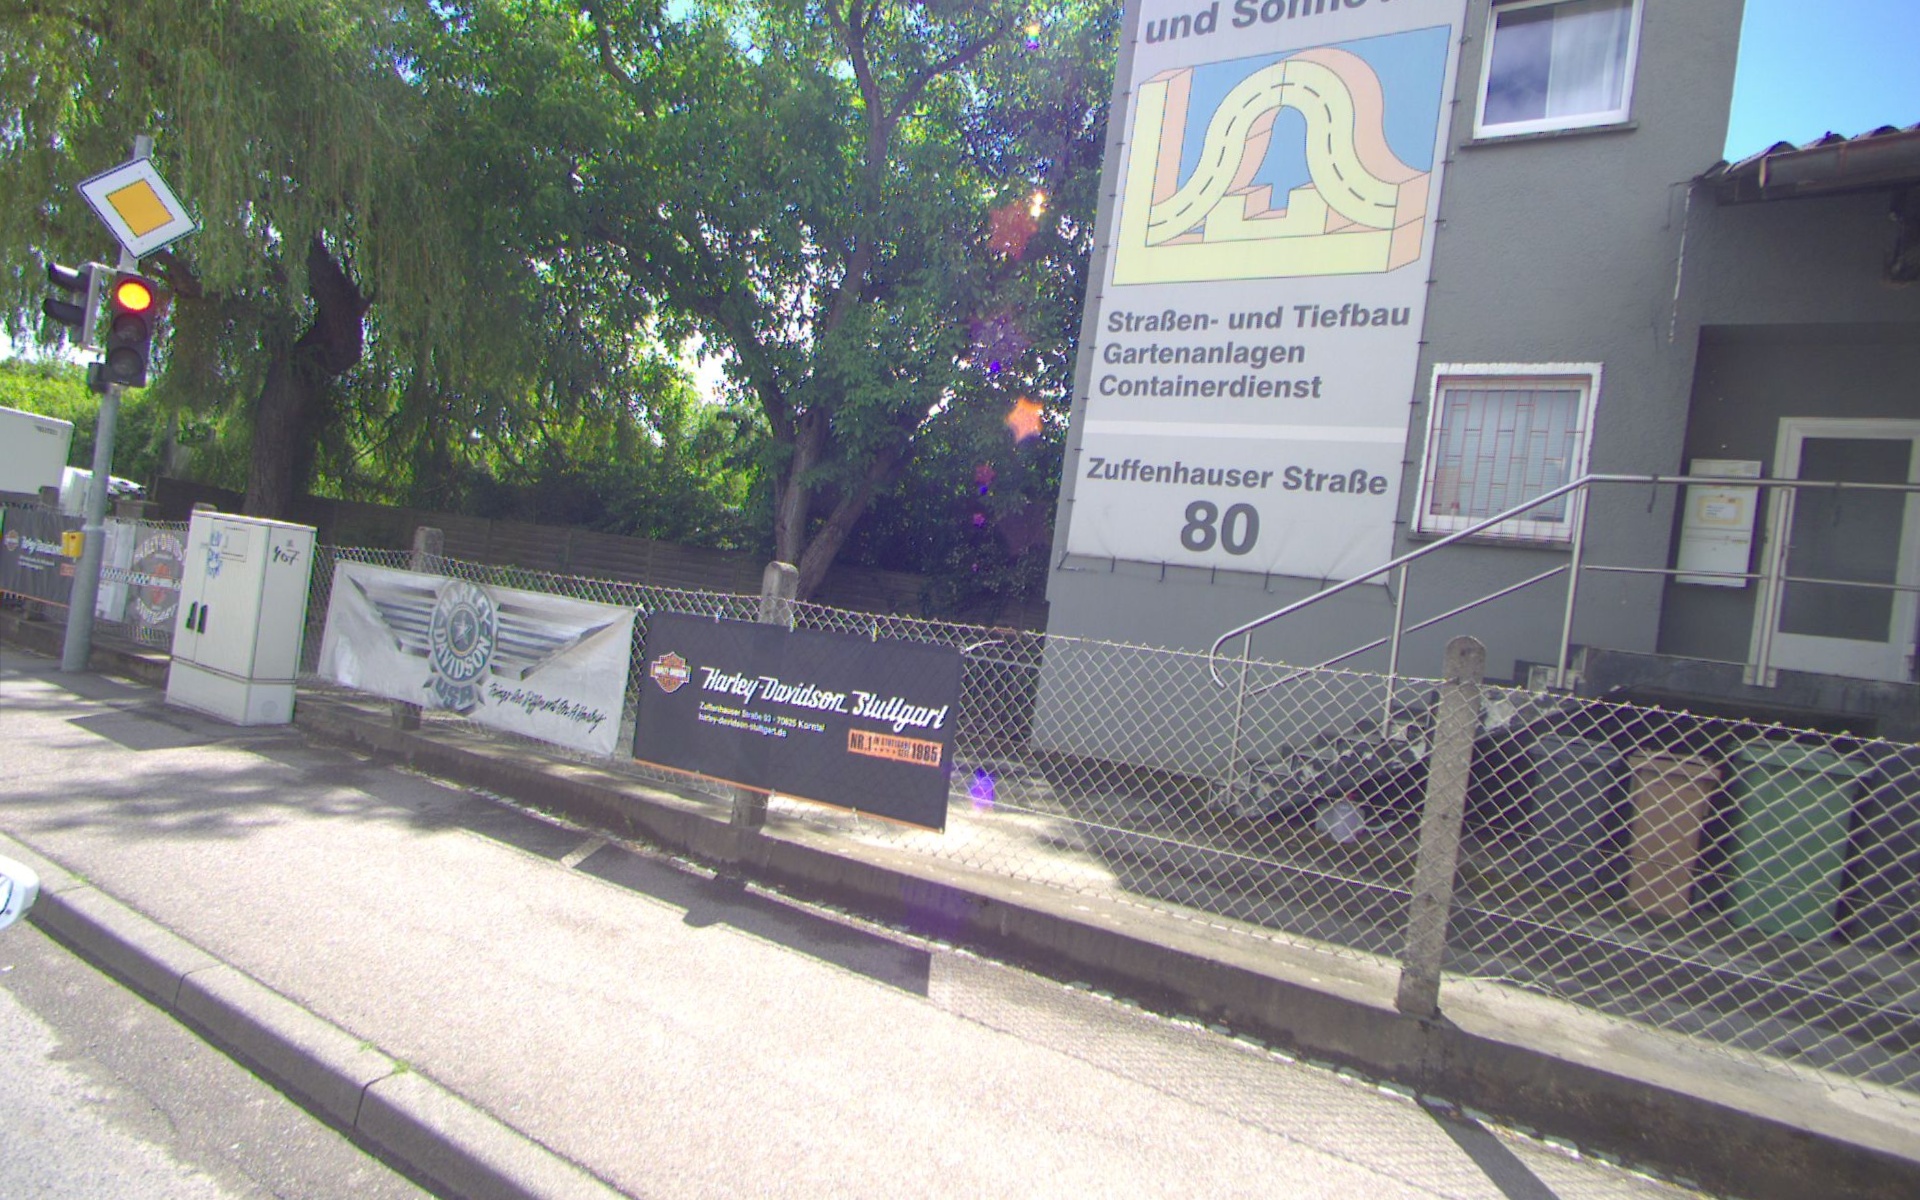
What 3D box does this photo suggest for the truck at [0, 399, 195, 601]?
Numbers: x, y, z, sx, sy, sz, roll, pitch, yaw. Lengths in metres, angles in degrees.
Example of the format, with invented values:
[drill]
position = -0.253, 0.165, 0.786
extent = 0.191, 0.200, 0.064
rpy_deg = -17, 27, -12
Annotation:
[truck]
position = -21.295, -2.554, 19.396
extent = 2.806, 3.578, 9.705
rpy_deg = 7, -4, 37
